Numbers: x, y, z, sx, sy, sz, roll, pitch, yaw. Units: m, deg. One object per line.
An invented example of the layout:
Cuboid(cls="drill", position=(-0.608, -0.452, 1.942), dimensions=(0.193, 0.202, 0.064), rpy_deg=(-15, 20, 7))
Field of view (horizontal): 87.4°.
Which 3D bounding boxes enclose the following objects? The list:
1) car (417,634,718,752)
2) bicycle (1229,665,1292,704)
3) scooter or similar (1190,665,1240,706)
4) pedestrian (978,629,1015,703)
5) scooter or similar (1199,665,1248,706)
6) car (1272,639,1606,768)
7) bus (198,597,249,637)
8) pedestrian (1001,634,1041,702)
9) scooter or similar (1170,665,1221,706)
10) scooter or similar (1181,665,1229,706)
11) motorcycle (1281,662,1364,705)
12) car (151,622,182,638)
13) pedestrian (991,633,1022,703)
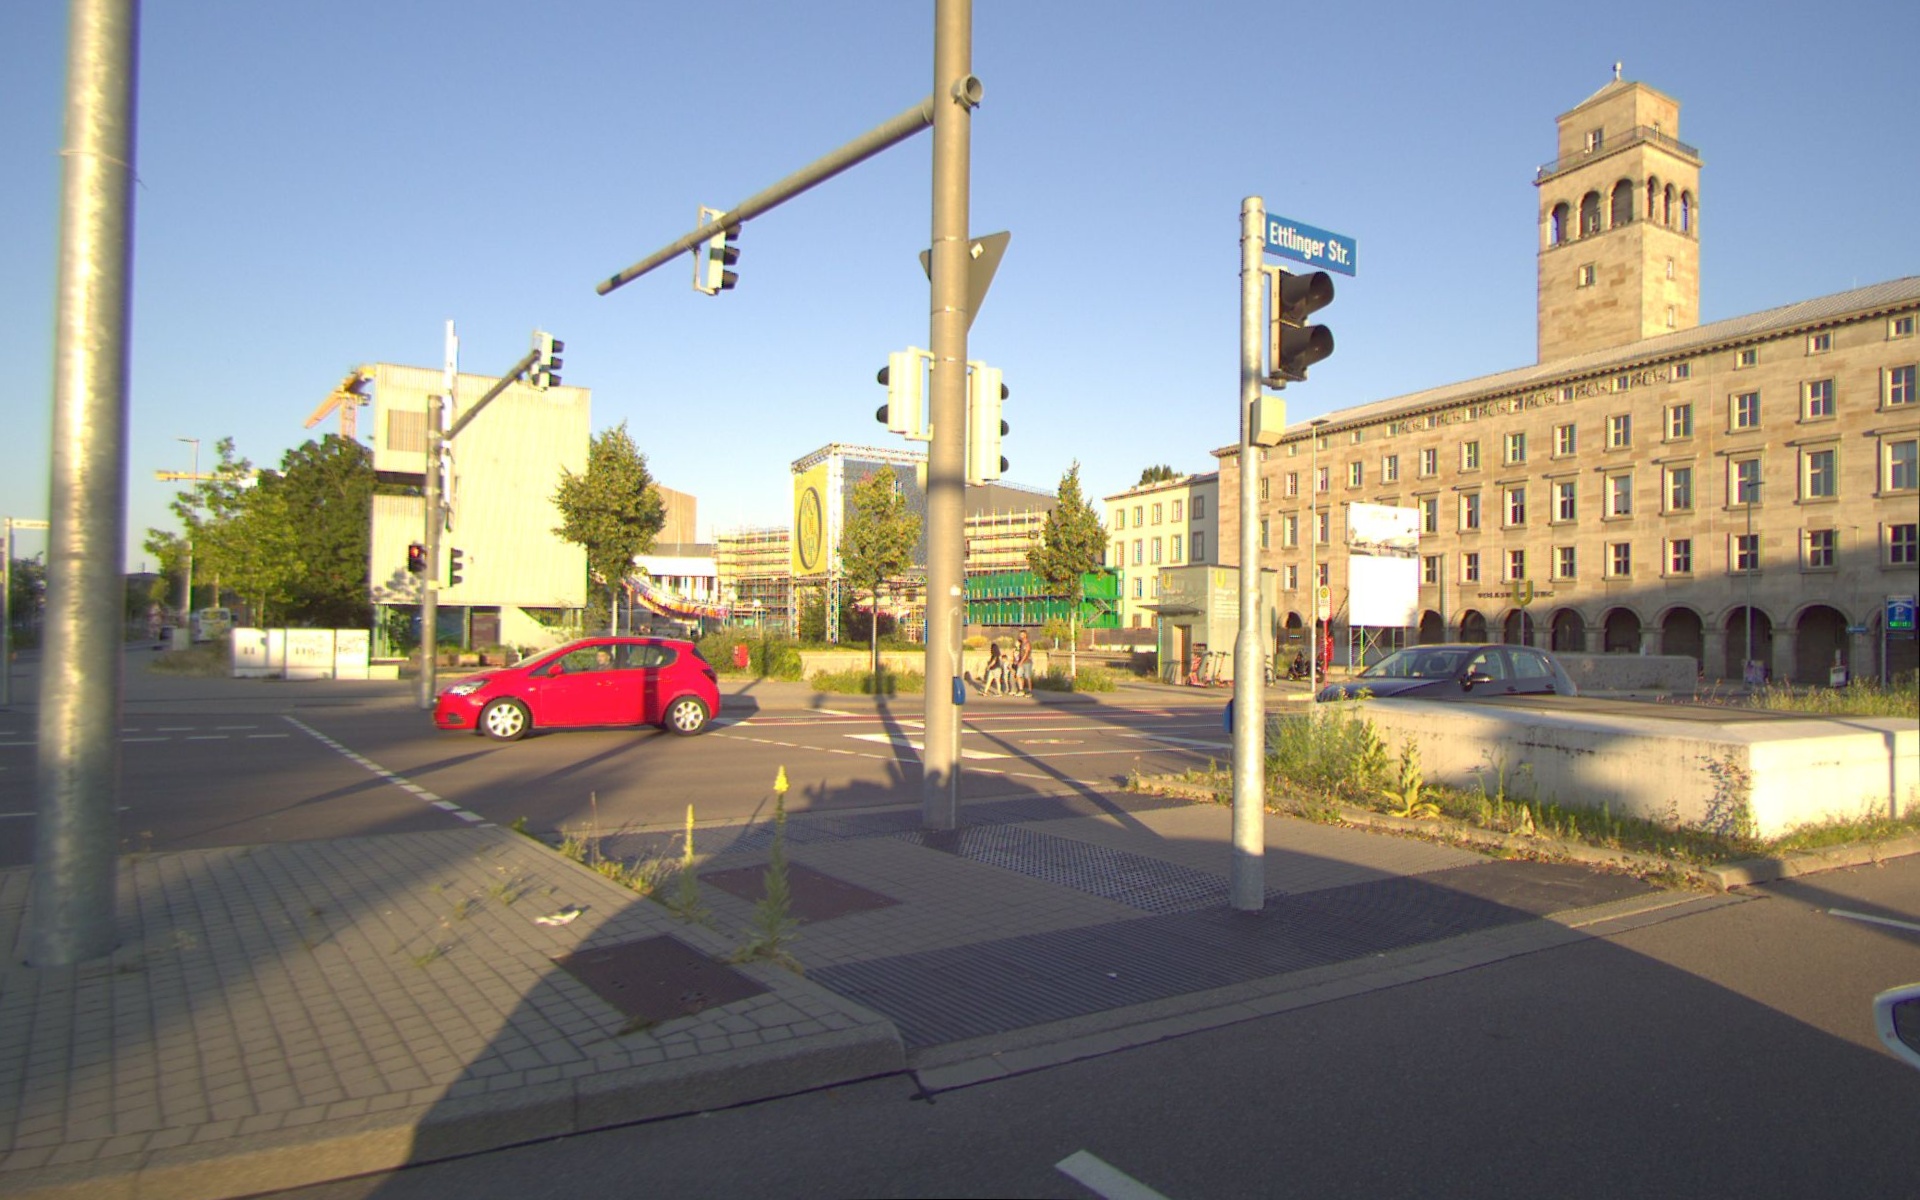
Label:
Cuboid(cls="car", position=(-5.803, 1.345, 14.975), dimensions=(3.954, 1.546, 1.627), rpy_deg=(3, -3, -30))
Cuboid(cls="bicycle", position=(10.806, 3.024, 36.083), dimensions=(2.481, 1.341, 0.614), rpy_deg=(3, -3, -31))
Cuboid(cls="scooter or similar", position=(8.799, 2.942, 34.722), dimensions=(0.419, 1.322, 1.819), rpy_deg=(3, -3, -34))
Cuboid(cls="pedestrian", position=(0.987, 1.789, 27.440), dimensions=(0.766, 1.959, 0.629), rpy_deg=(2, -1, -27))
Cuboid(cls="scooter or similar", position=(9.161, 2.958, 34.967), dimensions=(0.419, 1.322, 1.824), rpy_deg=(3, -3, -34))
Cuboid(cls="car", position=(6.529, 1.331, 13.579), dimensions=(4.484, 1.485, 1.878), rpy_deg=(3, -3, -30))
Cuboid(cls="bus", position=(-73.636, 1.719, 100.571), dimensions=(3.520, 3.763, 8.843), rpy_deg=(2, -2, -33))
Cuboid(cls="pedestrian", position=(1.689, 1.877, 27.922), dimensions=(0.766, 1.861, 0.869), rpy_deg=(2, -2, -27))
Cuboid(cls="scooter or similar", position=(7.995, 2.890, 34.155), dimensions=(0.495, 1.322, 1.847), rpy_deg=(3, -3, -34))
Cuboid(cls="scooter or similar", position=(8.397, 2.924, 34.461), dimensions=(0.413, 1.322, 1.776), rpy_deg=(3, -3, -34))
Cuboid(cls="motorcycle", position=(13.942, 3.200, 38.745), dimensions=(0.830, 1.401, 3.218), rpy_deg=(3, -1, -30))
Cuboid(cls="car", position=(-89.711, 3.398, 113.631), dimensions=(2.048, 1.672, 3.971), rpy_deg=(2, -2, -28))
Cuboid(cls="pedestrian", position=(1.325, 1.913, 28.612), dimensions=(0.639, 1.958, 0.657), rpy_deg=(2, -2, -27))
